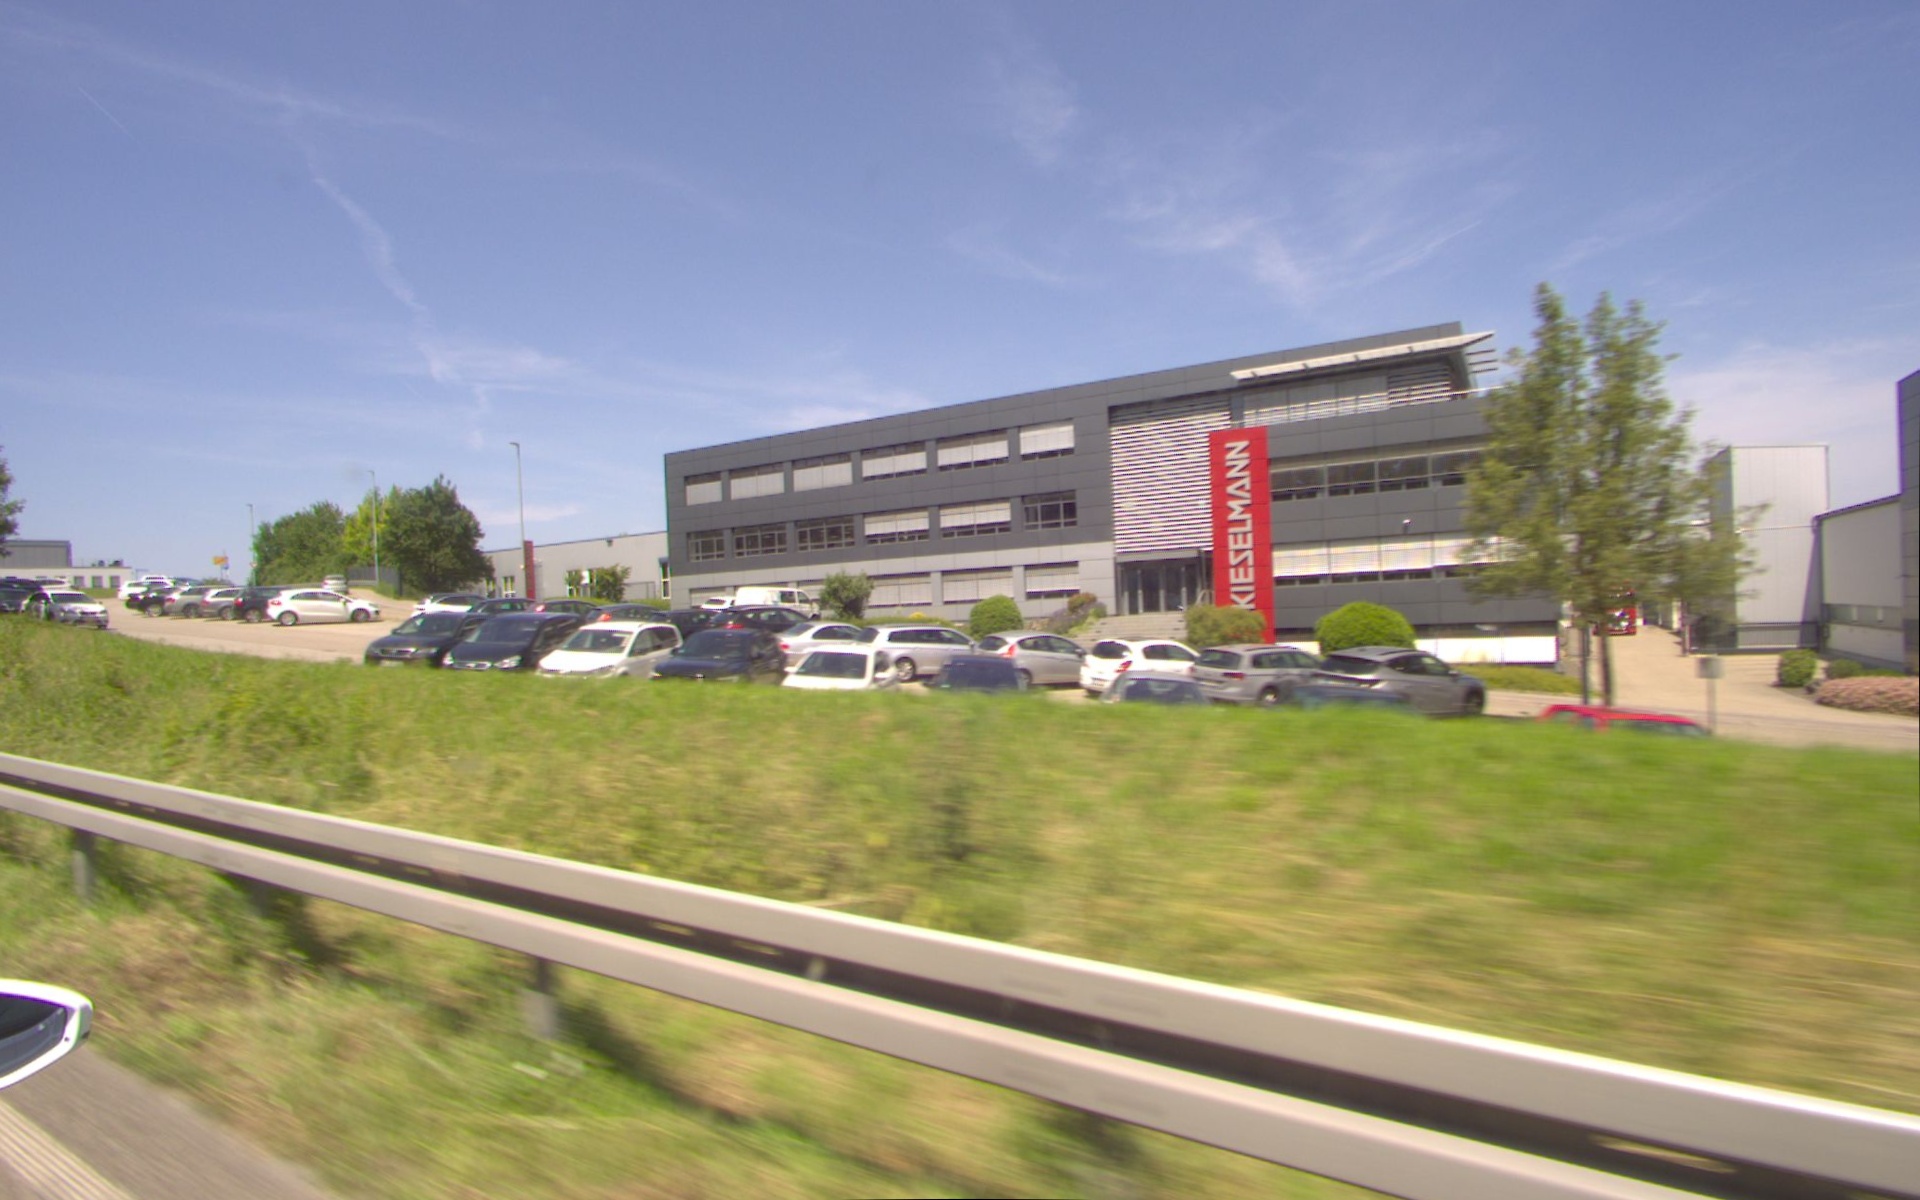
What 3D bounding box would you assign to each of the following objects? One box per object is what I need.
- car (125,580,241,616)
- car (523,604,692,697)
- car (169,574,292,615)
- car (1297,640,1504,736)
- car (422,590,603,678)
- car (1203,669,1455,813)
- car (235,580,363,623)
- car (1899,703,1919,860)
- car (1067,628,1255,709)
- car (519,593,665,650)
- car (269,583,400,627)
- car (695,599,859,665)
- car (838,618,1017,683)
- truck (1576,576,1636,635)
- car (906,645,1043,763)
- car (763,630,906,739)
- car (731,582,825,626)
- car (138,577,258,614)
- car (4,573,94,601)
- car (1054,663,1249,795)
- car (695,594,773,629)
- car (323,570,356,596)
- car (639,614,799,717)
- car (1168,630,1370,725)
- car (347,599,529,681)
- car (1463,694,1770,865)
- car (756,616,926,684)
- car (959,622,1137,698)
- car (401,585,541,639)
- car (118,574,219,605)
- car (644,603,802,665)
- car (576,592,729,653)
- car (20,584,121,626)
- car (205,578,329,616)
[{"bbox_3d":[-39.172,-0.052,50.619,4.534,1.649,1.807,2,-2,-38],"label":"car"},{"bbox_3d":[-7.512,1.125,21.856,1.851,1.706,4.381,4,-3,3],"label":"car"},{"bbox_3d":[-34.210,-0.248,47.032,4.536,1.649,1.806,4,-2,-38],"label":"car"},{"bbox_3d":[9.384,1.769,21.227,4.526,1.651,1.808,1,3,-34],"label":"car"},{"bbox_3d":[-9.991,0.834,22.791,1.851,1.706,4.381,4,-3,3],"label":"car"},{"bbox_3d":[5.406,2.011,15.362,1.852,1.706,4.380,4,-3,-5],"label":"car"},{"bbox_3d":[-28.944,0.107,43.923,4.535,1.649,1.806,4,-2,-38],"label":"car"},{"bbox_3d":[12.822,2.202,11.789,4.411,1.706,1.874,6,-4,-37],"label":"car"},{"bbox_3d":[5.046,1.660,24.907,4.527,1.651,1.807,2,4,-34],"label":"car"},{"bbox_3d":[-13.043,0.800,35.620,4.529,1.648,1.810,6,-4,-32],"label":"car"},{"bbox_3d":[-26.579,0.232,42.601,4.535,1.649,1.806,3,-2,-38],"label":"car"},{"bbox_3d":[-5.551,1.004,30.598,4.529,1.648,1.810,6,-4,-32],"label":"car"},{"bbox_3d":[-0.872,1.336,27.386,4.519,1.541,1.810,1,3,-29],"label":"car"},{"bbox_3d":[51.440,0.584,80.066,3.187,4.299,13.846,2,-1,30],"label":"truck"},{"bbox_3d":[0.114,1.717,17.580,1.852,1.706,4.380,4,-3,-5],"label":"car"},{"bbox_3d":[-2.223,1.553,18.964,1.851,1.706,4.381,4,-3,3],"label":"car"},{"bbox_3d":[-8.588,0.158,47.562,1.794,1.976,4.563,2,1,31],"label":"car"},{"bbox_3d":[-36.774,-0.178,48.403,4.534,1.649,1.807,1,-3,-39],"label":"car"},{"bbox_3d":[-60.390,-0.851,66.482,1.851,1.708,4.376,4,0,3],"label":"car"},{"bbox_3d":[2.901,1.946,16.208,1.852,1.706,4.380,4,-3,-5],"label":"car"},{"bbox_3d":[-11.117,0.551,49.430,1.659,1.610,3.654,2,1,31],"label":"car"},{"bbox_3d":[-46.812,-1.248,75.579,1.785,1.683,3.983,1,-2,-27],"label":"car"},{"bbox_3d":[-4.662,1.303,20.073,1.851,1.706,4.381,4,-3,3],"label":"car"},{"bbox_3d":[7.165,1.807,23.105,4.531,1.651,1.806,6,5,-34],"label":"car"},{"bbox_3d":[-12.507,1.016,24.368,1.851,1.706,4.381,4,-3,3],"label":"car"},{"bbox_3d":[8.631,2.251,13.701,1.852,1.706,4.380,3,-3,10],"label":"car"},{"bbox_3d":[-3.438,1.469,29.248,4.529,1.648,1.810,6,-4,-32],"label":"car"},{"bbox_3d":[2.338,1.494,26.245,4.524,1.499,1.807,-2,5,-34],"label":"car"},{"bbox_3d":[-18.603,0.488,38.173,4.529,1.648,1.810,6,-4,-32],"label":"car"},{"bbox_3d":[-48.731,-0.620,61.769,4.514,1.649,1.814,2,-2,-25],"label":"car"},{"bbox_3d":[-7.588,1.121,32.184,4.529,1.648,1.810,6,-4,-32],"label":"car"},{"bbox_3d":[-10.273,0.794,33.579,4.529,1.648,1.810,6,-4,-32],"label":"car"},{"bbox_3d":[-34.121,0.176,38.397,3.651,1.370,1.625,2,-3,28],"label":"car"},{"bbox_3d":[-31.448,-0.094,45.493,4.533,1.650,1.806,1,-1,-38],"label":"car"}]
